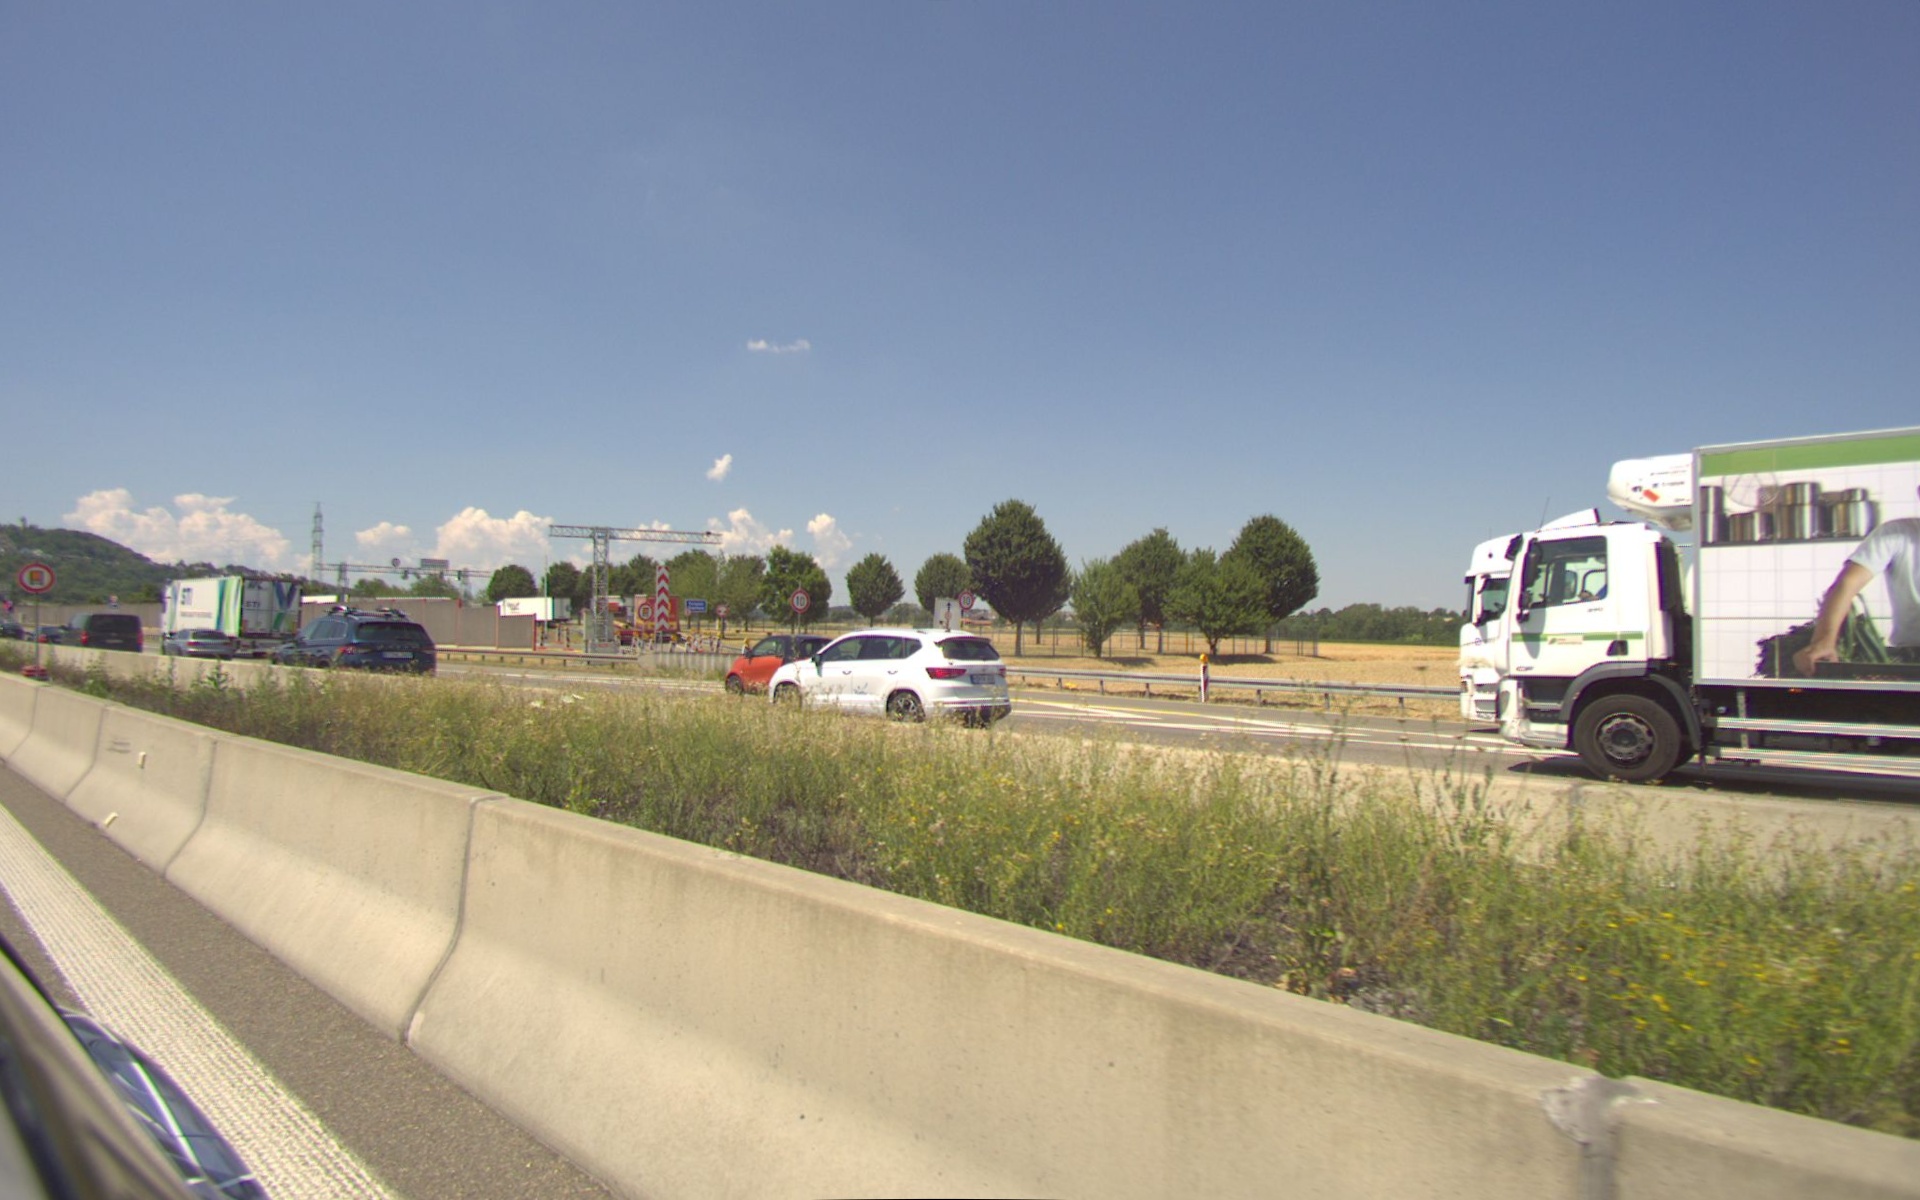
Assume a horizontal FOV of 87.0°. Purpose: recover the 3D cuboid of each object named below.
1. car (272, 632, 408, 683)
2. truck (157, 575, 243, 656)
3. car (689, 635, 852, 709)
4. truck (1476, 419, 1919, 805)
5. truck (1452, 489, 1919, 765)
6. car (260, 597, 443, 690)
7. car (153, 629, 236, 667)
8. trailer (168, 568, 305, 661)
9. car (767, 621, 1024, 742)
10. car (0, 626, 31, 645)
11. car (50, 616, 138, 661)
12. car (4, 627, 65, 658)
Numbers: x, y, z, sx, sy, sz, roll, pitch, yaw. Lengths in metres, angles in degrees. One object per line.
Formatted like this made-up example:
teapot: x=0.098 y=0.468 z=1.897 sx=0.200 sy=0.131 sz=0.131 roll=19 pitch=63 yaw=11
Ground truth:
car: x=-18.487 y=1.655 z=30.094 sx=5.082 sy=1.397 sz=1.993 roll=-2 pitch=-3 yaw=41
truck: x=-43.663 y=0.944 z=58.111 sx=4.900 sy=4.408 sz=2.840 roll=-1 pitch=-4 yaw=41
car: x=-4.385 y=1.597 z=23.116 sx=3.936 sy=1.527 sz=1.546 roll=-2 pitch=-4 yaw=42
truck: x=12.022 y=0.123 z=8.677 sx=13.284 sy=3.637 sz=2.765 roll=-2 pitch=-4 yaw=42
truck: x=14.554 y=0.440 z=14.617 sx=2.864 sy=3.806 sz=13.304 roll=5 pitch=-5 yaw=-42
car: x=-11.879 y=0.804 z=19.619 sx=4.539 sy=1.602 sz=1.763 roll=-2 pitch=-2 yaw=42
car: x=-32.737 y=2.048 z=43.246 sx=4.920 sy=1.494 sz=1.827 roll=-2 pitch=-5 yaw=42
trailer: x=-38.520 y=0.864 z=53.609 sx=12.987 sy=4.408 sz=2.862 roll=-1 pitch=-4 yaw=41
car: x=-1.085 y=1.169 z=15.612 sx=4.042 sy=1.635 sz=1.543 roll=-2 pitch=-3 yaw=41
car: x=-78.131 y=2.913 z=83.387 sx=4.960 sy=1.497 sz=1.793 roll=-1 pitch=-1 yaw=41
car: x=-32.814 y=1.430 z=38.289 sx=5.342 sy=1.581 sz=1.824 roll=-2 pitch=-2 yaw=42
car: x=-42.679 y=1.927 z=46.659 sx=4.265 sy=1.362 sz=1.638 roll=-2 pitch=-2 yaw=42
